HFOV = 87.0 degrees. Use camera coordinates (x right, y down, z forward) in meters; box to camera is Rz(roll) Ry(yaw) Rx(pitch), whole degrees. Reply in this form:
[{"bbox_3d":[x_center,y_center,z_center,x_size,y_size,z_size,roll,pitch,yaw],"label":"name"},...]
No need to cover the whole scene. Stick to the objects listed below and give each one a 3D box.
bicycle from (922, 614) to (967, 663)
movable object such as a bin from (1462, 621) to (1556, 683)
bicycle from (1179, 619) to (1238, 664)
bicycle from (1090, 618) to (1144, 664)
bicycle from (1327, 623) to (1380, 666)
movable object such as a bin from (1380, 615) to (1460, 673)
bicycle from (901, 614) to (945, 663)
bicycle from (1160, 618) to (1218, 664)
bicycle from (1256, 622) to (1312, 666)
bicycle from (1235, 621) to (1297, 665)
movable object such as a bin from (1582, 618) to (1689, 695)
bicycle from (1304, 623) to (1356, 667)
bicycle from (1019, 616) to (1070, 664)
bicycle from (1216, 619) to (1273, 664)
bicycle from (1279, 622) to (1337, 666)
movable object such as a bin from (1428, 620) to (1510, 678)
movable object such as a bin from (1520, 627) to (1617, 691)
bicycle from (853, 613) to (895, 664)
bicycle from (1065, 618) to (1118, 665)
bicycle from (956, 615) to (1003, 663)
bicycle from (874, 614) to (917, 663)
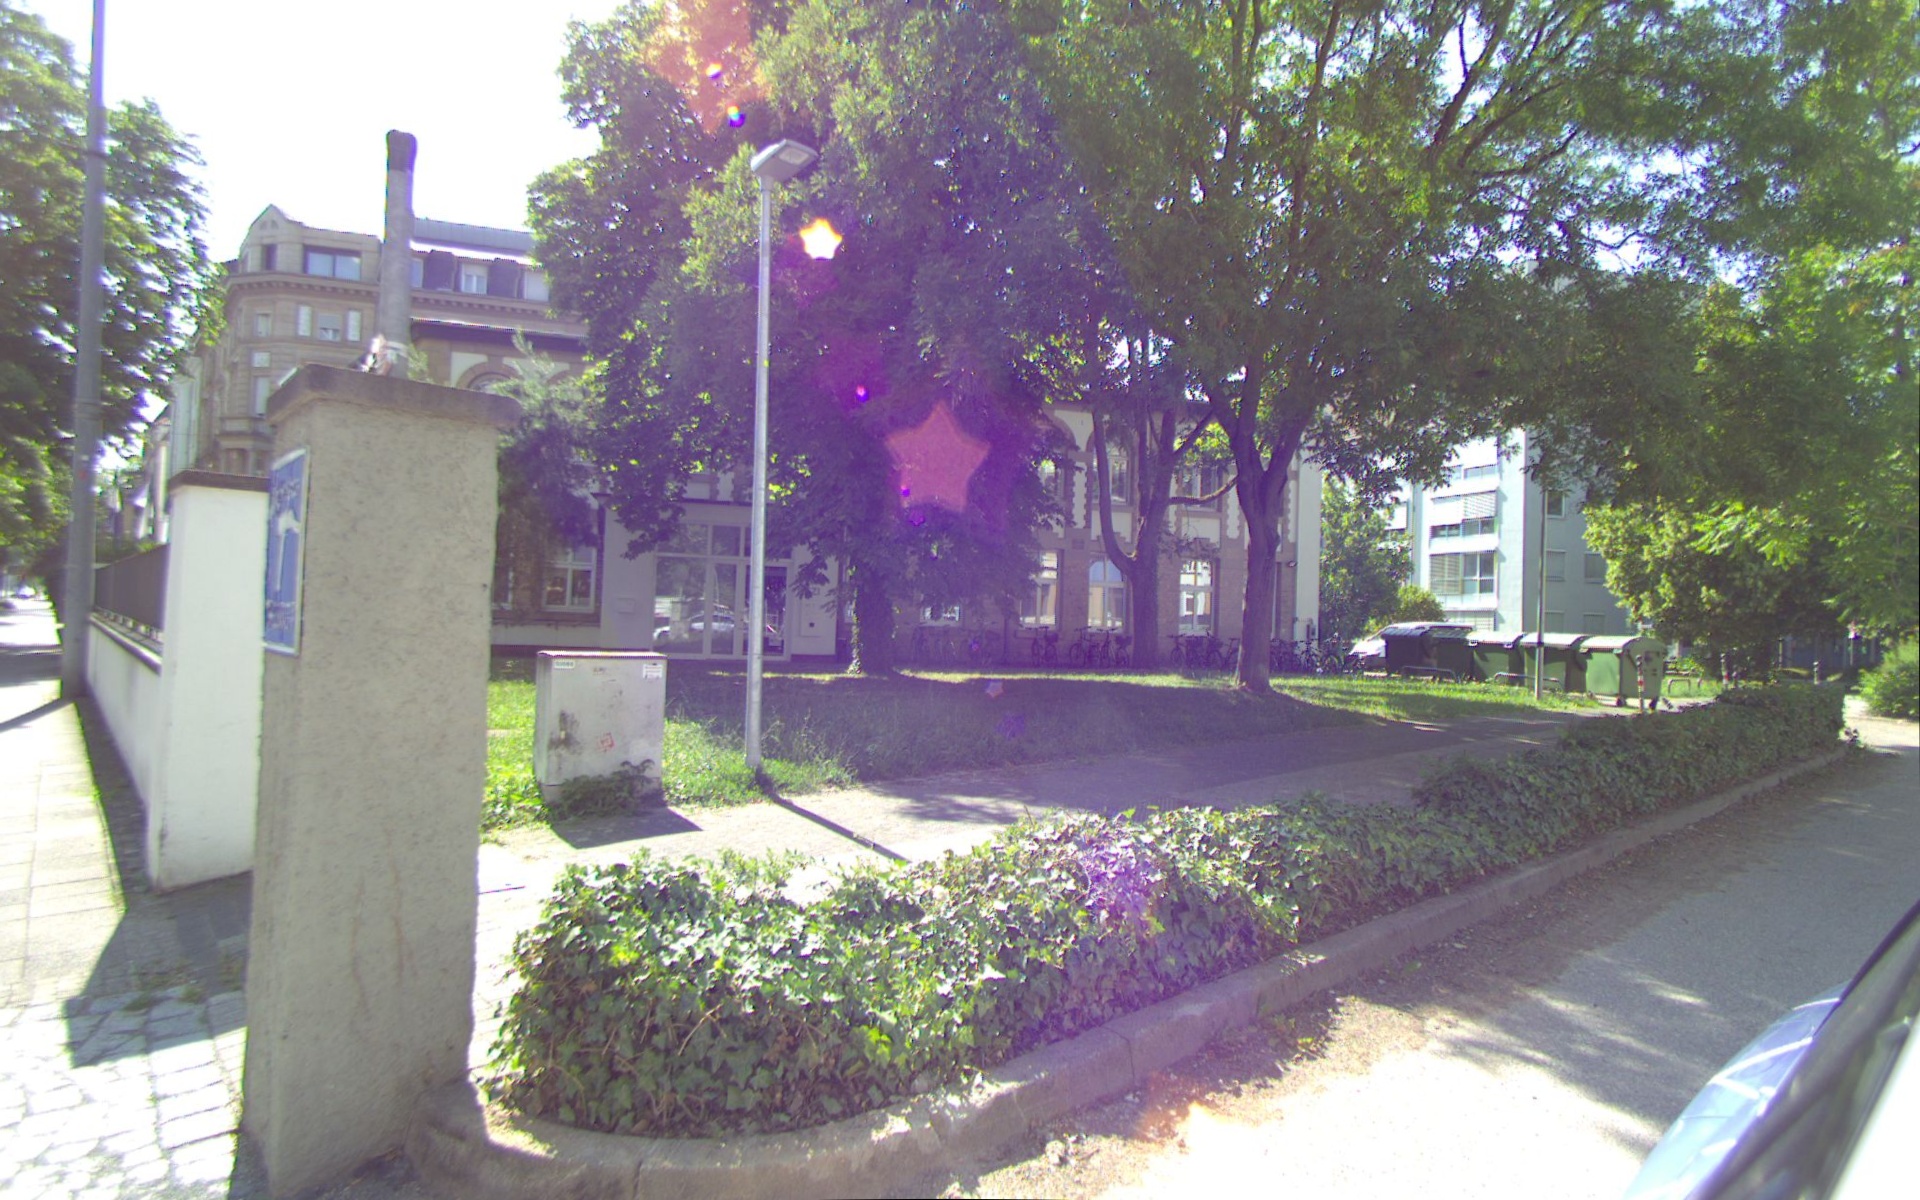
[{"bbox_3d":[-0.410,0.977,26.115,0.575,1.176,2.107,2,-1,-17],"label":"bicycle"},{"bbox_3d":[12.730,1.191,23.516,1.190,1.379,1.505,2,-1,-20],"label":"movable object such as a bin"},{"bbox_3d":[6.875,1.129,28.067,0.575,1.176,2.107,2,-1,-17],"label":"bicycle"},{"bbox_3d":[4.222,1.083,27.355,0.575,1.176,2.107,2,-1,-17],"label":"bicycle"},{"bbox_3d":[11.225,1.251,28.953,0.546,1.176,1.947,1,-1,-7],"label":"bicycle"},{"bbox_3d":[12.042,1.140,26.536,1.224,1.427,1.439,2,-1,-21],"label":"movable object such as a bin"},{"bbox_3d":[-0.958,0.957,25.819,0.575,1.176,2.107,2,-1,-17],"label":"bicycle"},{"bbox_3d":[6.264,1.108,27.824,0.575,1.176,2.107,2,-1,-17],"label":"bicycle"},{"bbox_3d":[9.154,1.224,28.694,0.484,1.176,1.918,2,-1,-17],"label":"bicycle"},{"bbox_3d":[8.611,1.189,28.552,0.575,1.176,2.107,2,-1,-17],"label":"bicycle"},{"bbox_3d":[13.784,1.137,20.699,1.191,1.481,1.393,1,-1,-5],"label":"movable object such as a bin"},{"bbox_3d":[10.598,1.267,29.022,0.496,1.176,1.808,2,-1,-12],"label":"bicycle"},{"bbox_3d":[2.218,1.034,26.753,0.575,1.176,2.107,2,-1,-17],"label":"bicycle"},{"bbox_3d":[7.931,1.151,28.272,0.575,1.176,1.925,2,-1,-17],"label":"bicycle"},{"bbox_3d":[9.947,1.241,28.988,0.600,1.176,1.855,2,-1,-17],"label":"bicycle"},{"bbox_3d":[12.597,1.206,25.059,1.190,1.366,1.355,2,-1,-20],"label":"movable object such as a bin"},{"bbox_3d":[13.274,1.279,22.112,1.190,1.317,1.358,2,-1,-20],"label":"movable object such as a bin"},{"bbox_3d":[-2.140,0.923,25.003,0.575,1.176,2.107,2,-1,-17],"label":"bicycle"},{"bbox_3d":[3.506,1.082,27.102,0.575,1.176,2.107,2,-1,-17],"label":"bicycle"},{"bbox_3d":[0.481,1.000,26.317,0.575,1.176,2.107,2,-1,-17],"label":"bicycle"},{"bbox_3d":[-1.653,0.950,25.613,0.575,1.176,2.107,2,-1,-17],"label":"bicycle"}]
